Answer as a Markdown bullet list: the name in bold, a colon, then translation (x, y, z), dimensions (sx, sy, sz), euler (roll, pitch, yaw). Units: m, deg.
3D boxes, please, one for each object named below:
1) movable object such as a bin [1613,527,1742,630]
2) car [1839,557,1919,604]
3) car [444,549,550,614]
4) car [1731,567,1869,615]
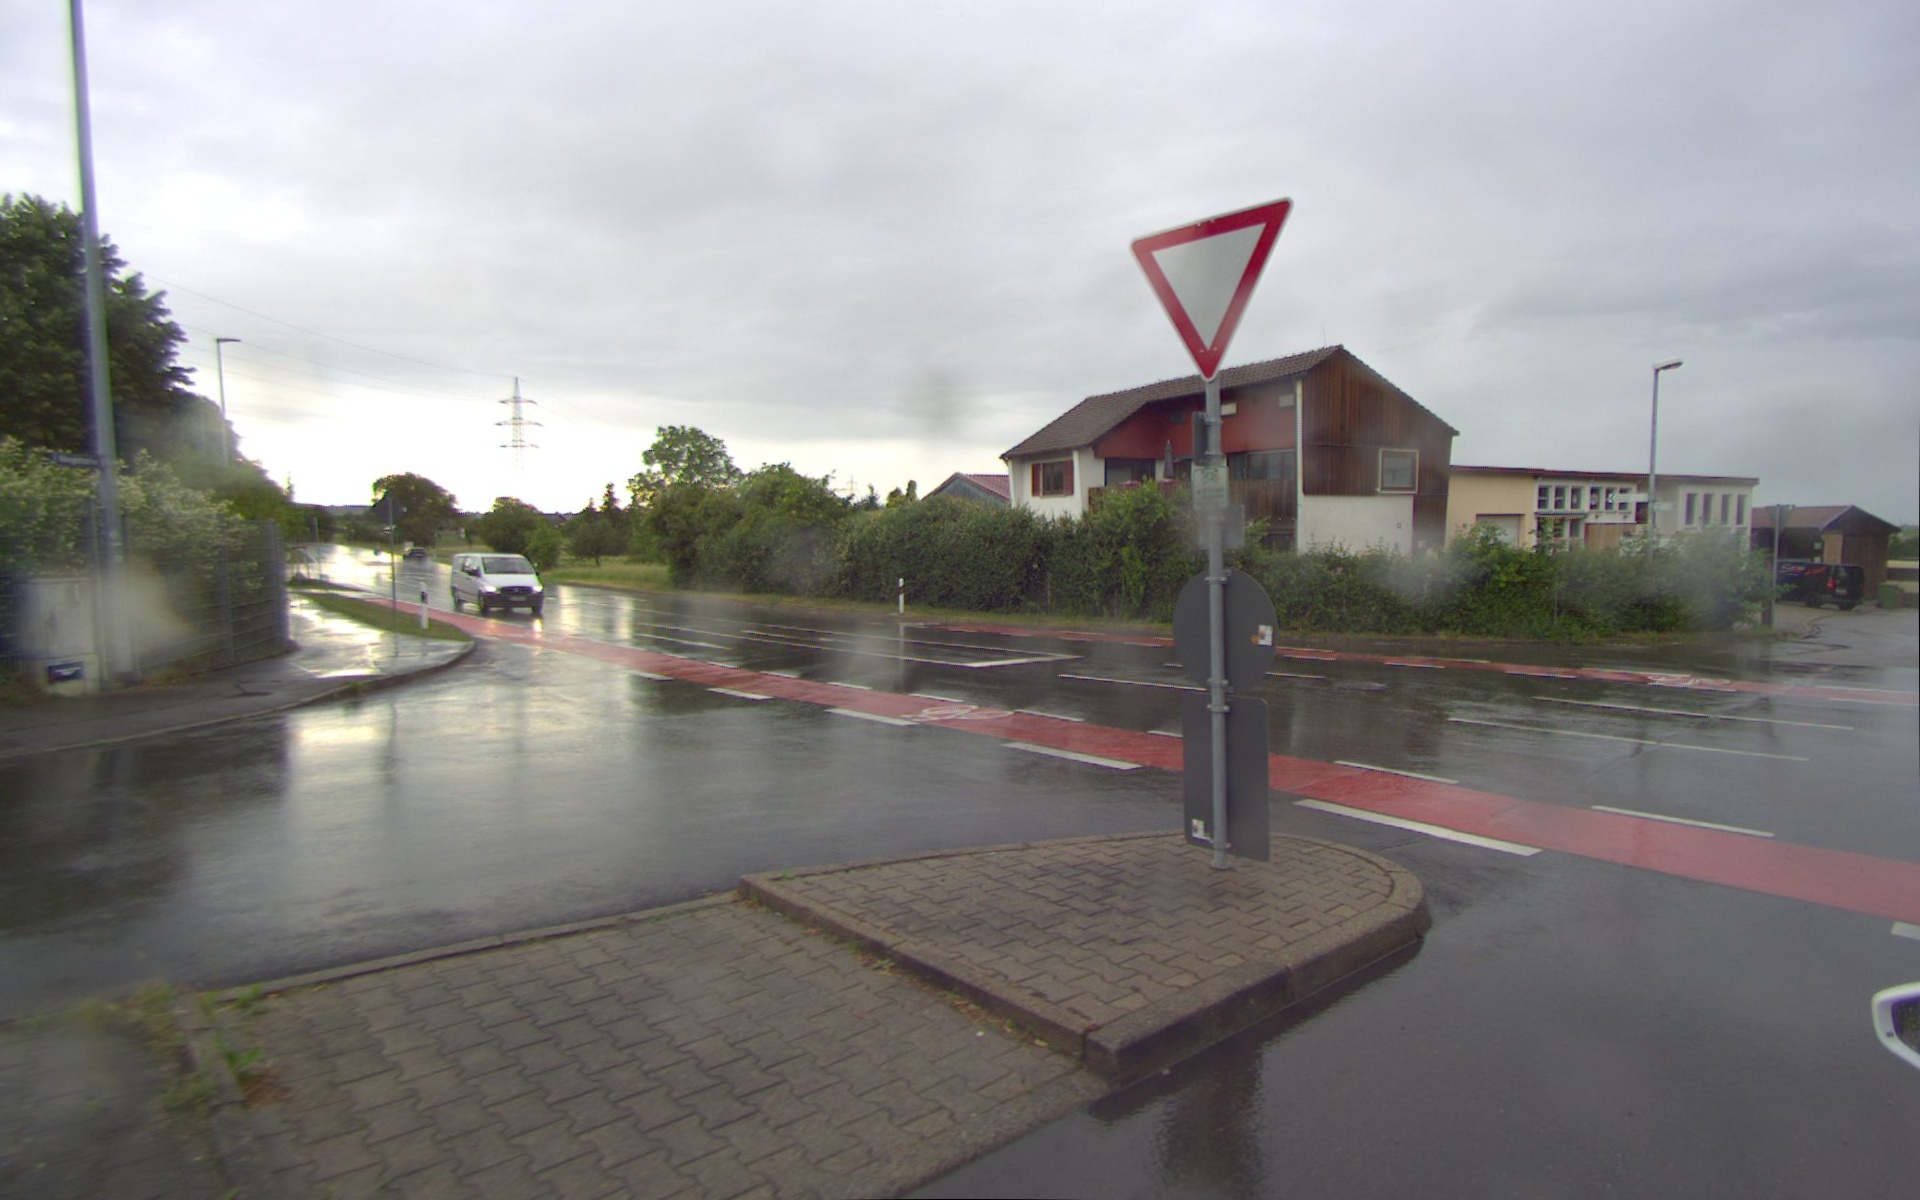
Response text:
- **movable object such as a bin**: translation (19.141, -0.550, 26.787), dimensions (3.305, 2.591, 1.722), euler (0, 2, -34)
- **car**: translation (50.592, -1.010, 52.892), dimensions (2.432, 2.447, 5.985), euler (0, 1, -27)
- **car**: translation (-15.707, -0.657, 33.919), dimensions (1.890, 2.045, 5.308), euler (-1, 2, -41)
- **car**: translation (35.757, -0.412, 42.929), dimensions (1.962, 1.930, 4.406), euler (1, 1, -5)
